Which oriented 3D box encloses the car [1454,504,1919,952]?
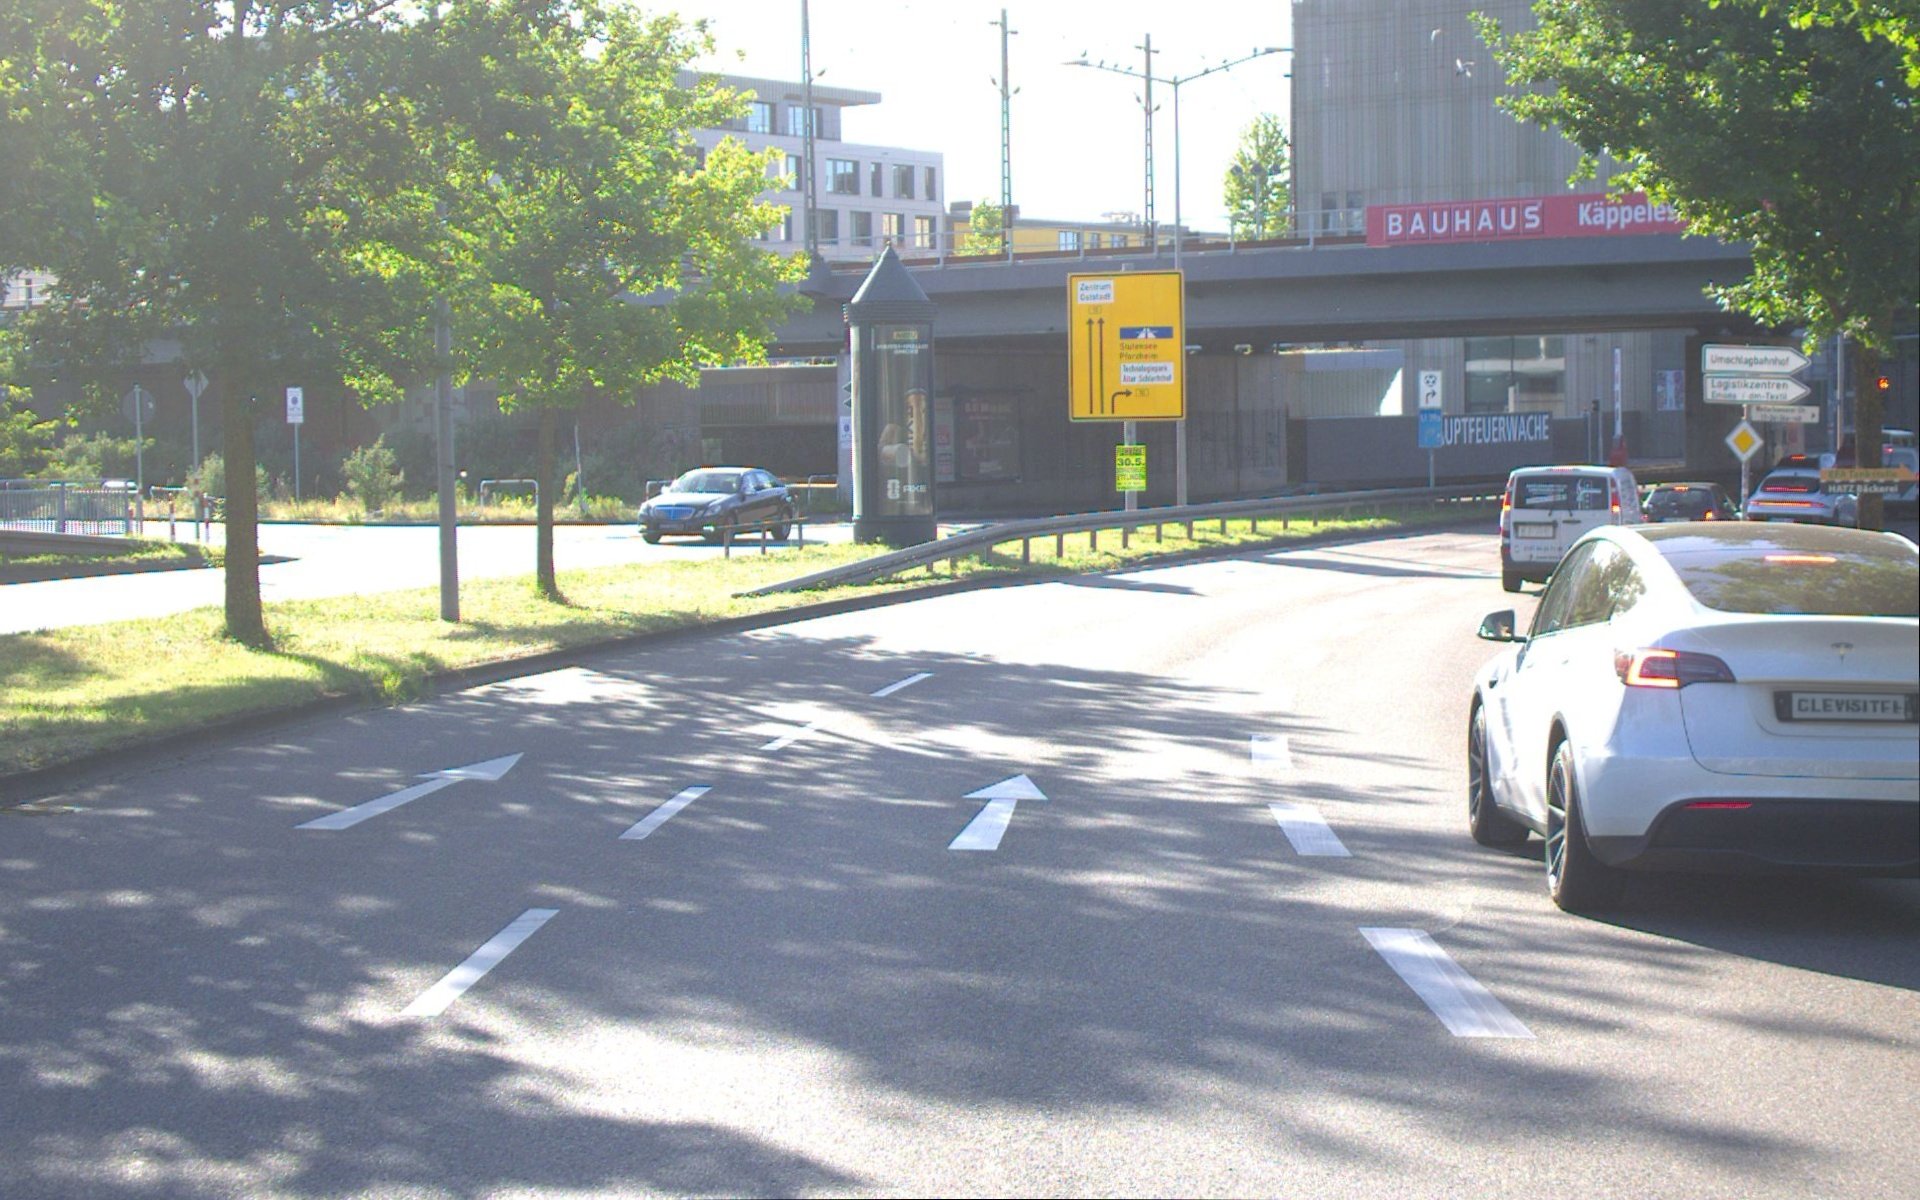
[{"bbox_3d":[3.426,0.459,15.113,1.914,1.635,4.410,2,1,1],"label":"car"}]

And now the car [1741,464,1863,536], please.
[{"bbox_3d":[18.336,-2.197,74.766,1.766,1.470,4.284,1,3,25],"label":"car"}]

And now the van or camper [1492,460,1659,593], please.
[{"bbox_3d":[9.477,-1.180,52.662,1.960,1.877,4.877,1,3,17],"label":"van or camper"}]

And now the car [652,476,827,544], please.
[{"bbox_3d":[-4.390,-1.837,69.298,1.801,1.305,4.611,1,2,20],"label":"car"}]

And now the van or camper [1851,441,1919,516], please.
[{"bbox_3d":[23.834,-3.070,86.238,1.828,1.784,4.538,2,4,28],"label":"van or camper"}]

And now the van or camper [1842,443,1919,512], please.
[{"bbox_3d":[25.675,-3.389,94.414,1.757,1.807,3.952,2,4,31],"label":"van or camper"}]

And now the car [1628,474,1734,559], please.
[{"bbox_3d":[13.671,-1.609,65.061,1.605,1.429,3.676,2,4,17],"label":"car"}]
